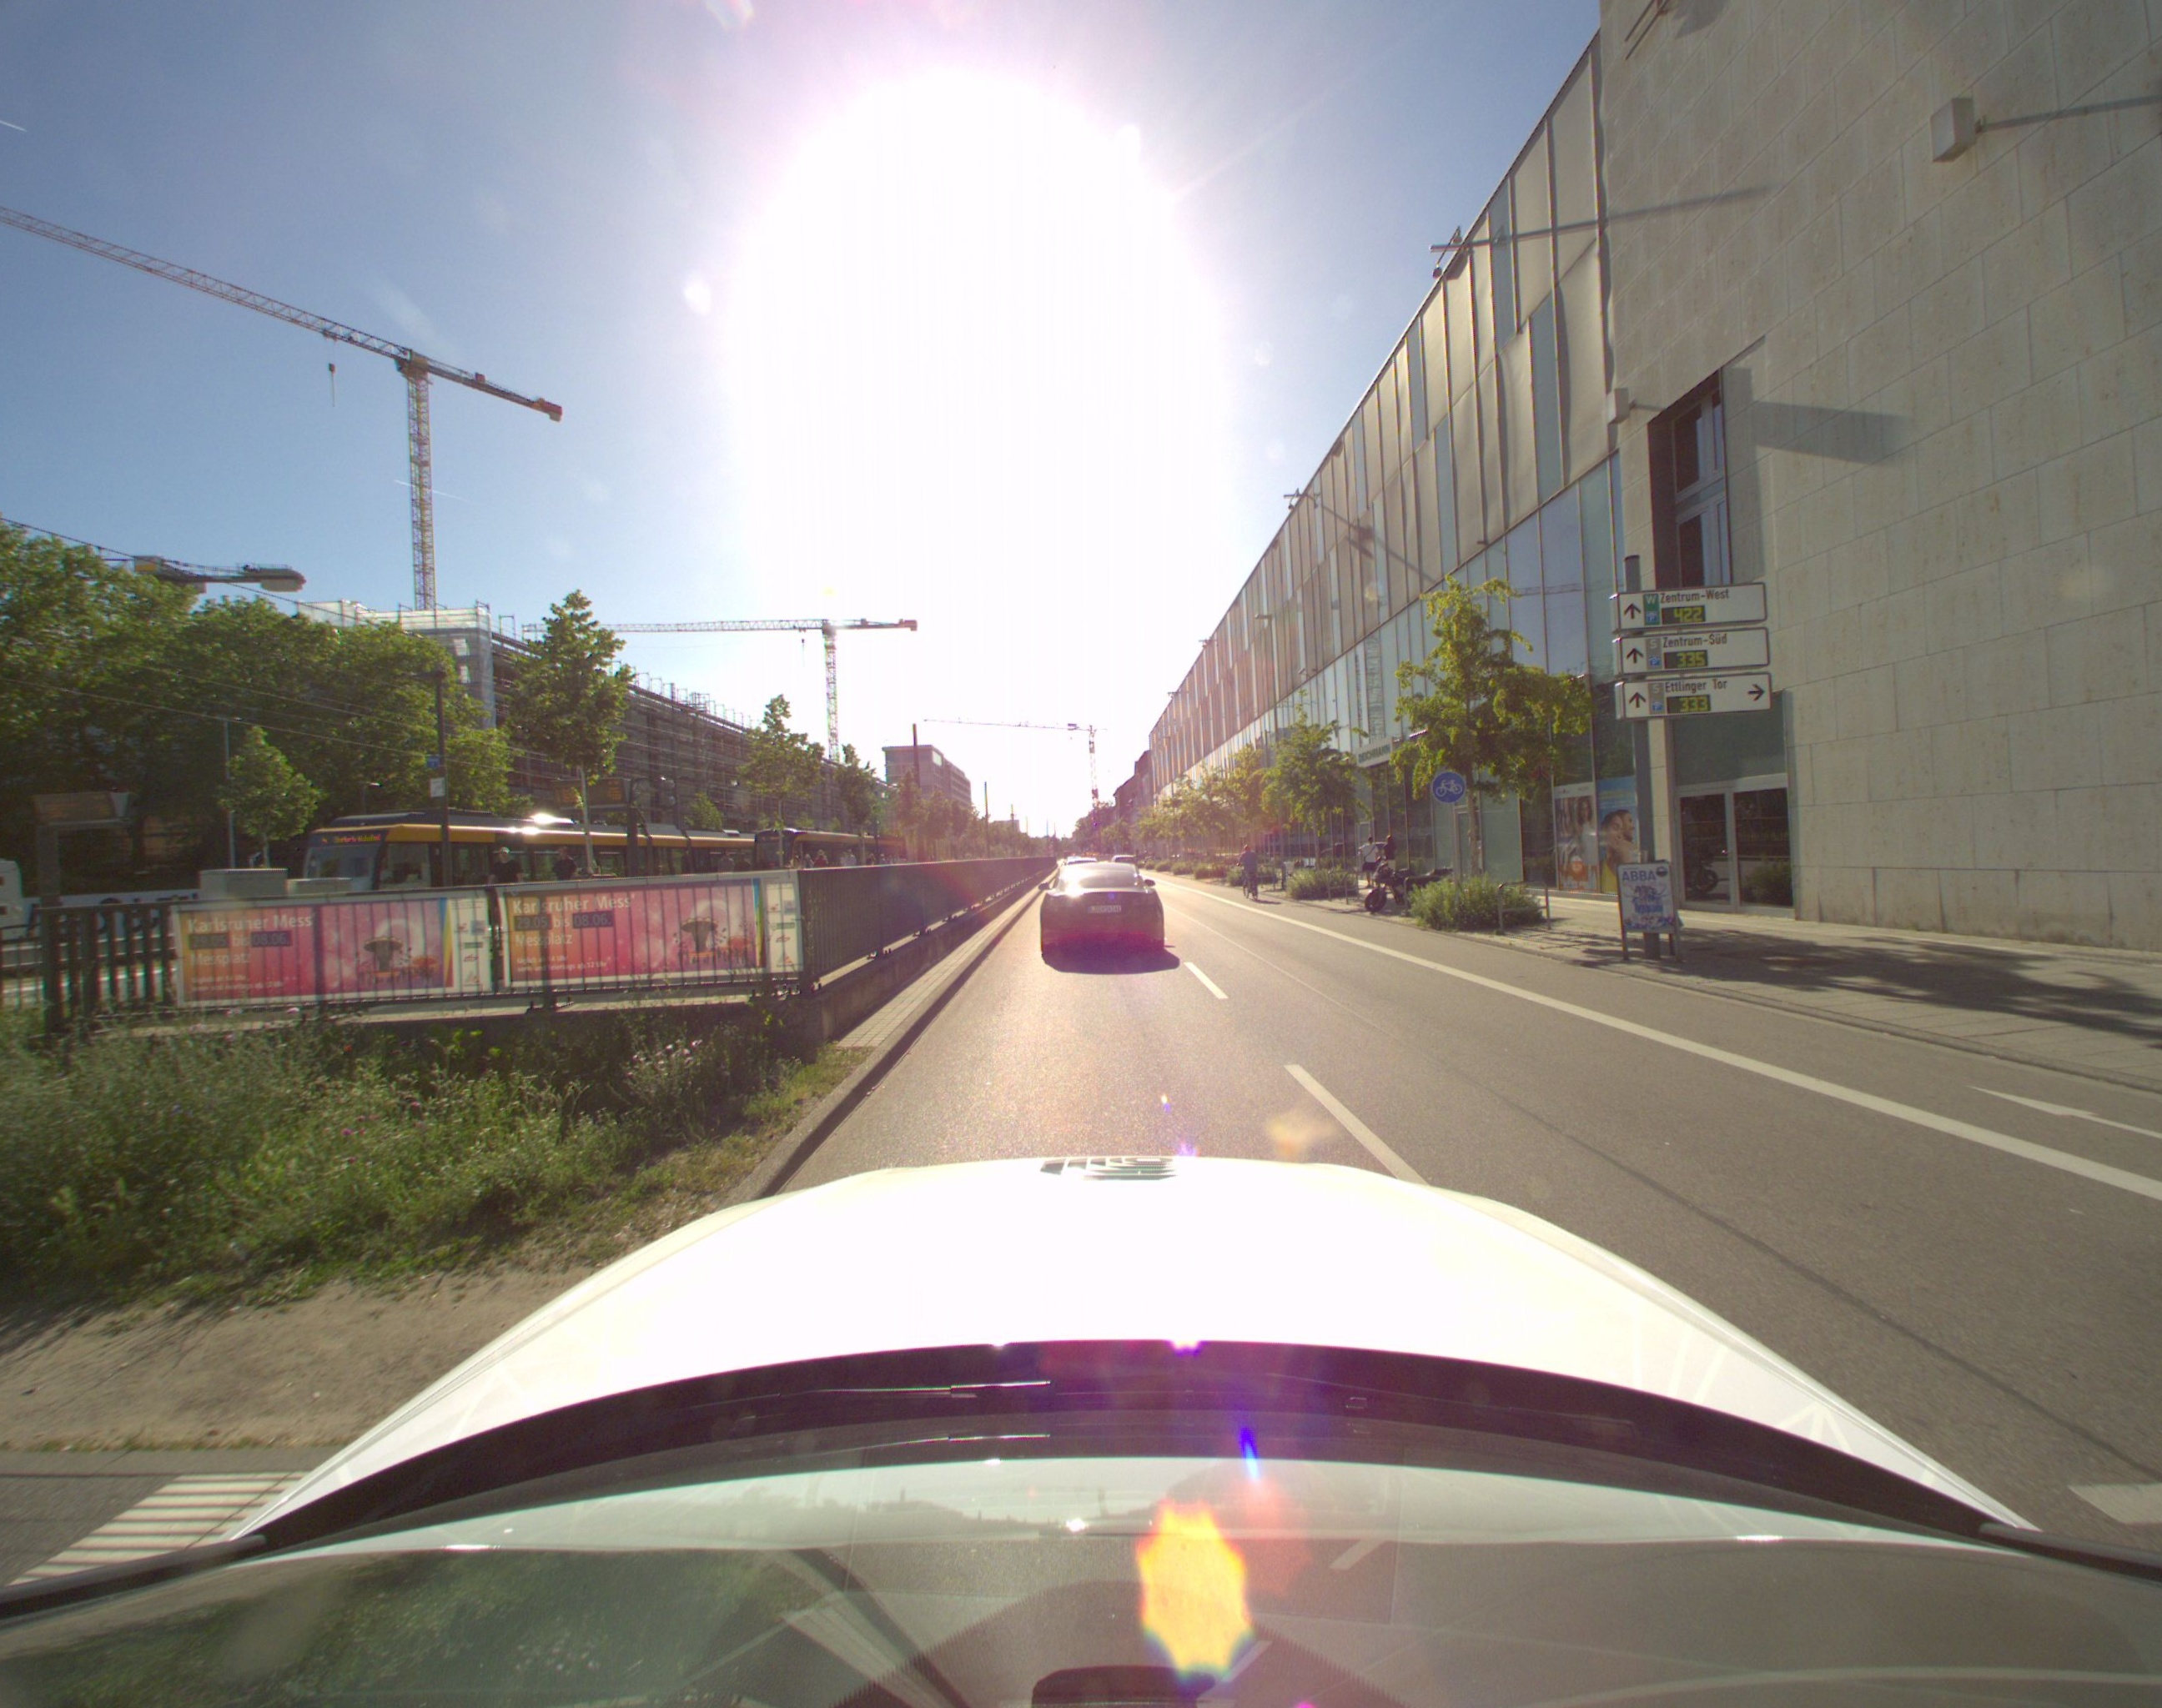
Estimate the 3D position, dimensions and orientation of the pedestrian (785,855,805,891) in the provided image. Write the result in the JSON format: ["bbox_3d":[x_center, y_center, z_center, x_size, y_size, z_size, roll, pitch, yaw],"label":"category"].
[{"bbox_3d":[-12.395,0.828,35.320,0.646,1.512,0.588,-1,1,-4],"label":"pedestrian"}]

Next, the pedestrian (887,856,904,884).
[{"bbox_3d":[-10.959,0.954,48.113,0.739,1.628,0.861,-3,0,0],"label":"pedestrian"}]

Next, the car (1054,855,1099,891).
[{"bbox_3d":[-0.164,0.733,33.548,1.711,1.319,4.000,-2,0,0],"label":"car"}]

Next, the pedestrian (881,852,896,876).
[{"bbox_3d":[-13.021,0.675,55.198,0.739,1.628,0.861,-3,0,0],"label":"pedestrian"}]

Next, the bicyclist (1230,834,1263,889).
[{"bbox_3d":[5.371,0.244,26.511,0.723,1.736,0.996,-3,0,-4],"label":"bicyclist"}]

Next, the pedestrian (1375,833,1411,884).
[{"bbox_3d":[10.500,0.144,27.465,0.705,1.658,0.899,-5,0,-5],"label":"pedestrian"}]

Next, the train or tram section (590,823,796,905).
[{"bbox_3d":[-18.608,0.388,41.148,2.839,3.321,15.962,0,0,0],"label":"train or tram section"}]

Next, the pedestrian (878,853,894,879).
[{"bbox_3d":[-12.595,0.771,52.633,0.739,1.628,0.861,-3,0,0],"label":"pedestrian"}]

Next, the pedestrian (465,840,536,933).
[{"bbox_3d":[-11.499,0.626,16.153,0.701,1.775,0.958,-1,1,-3],"label":"pedestrian"}]

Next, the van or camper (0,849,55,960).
[{"bbox_3d":[-29.912,1.410,19.005,2.598,2.937,7.337,-3,0,-2],"label":"van or camper"}]

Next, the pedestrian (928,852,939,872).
[{"bbox_3d":[-12.837,0.697,70.958,0.739,1.628,0.861,-3,0,0],"label":"pedestrian"}]

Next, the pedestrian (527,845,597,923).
[{"bbox_3d":[-12.218,0.677,19.225,0.872,1.775,1.188,-1,1,-3],"label":"pedestrian"}]

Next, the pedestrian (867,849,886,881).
[{"bbox_3d":[-10.793,0.587,42.985,0.739,1.628,0.861,-3,0,0],"label":"pedestrian"}]

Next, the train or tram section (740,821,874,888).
[{"bbox_3d":[-15.641,0.013,48.325,2.861,3.279,15.181,-1,0,0],"label":"train or tram section"}]

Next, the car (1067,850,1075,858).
[{"bbox_3d":[-2.553,-0.089,202.056,1.807,1.809,4.039,-2,0,1],"label":"car"}]

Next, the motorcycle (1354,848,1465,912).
[{"bbox_3d":[7.656,0.588,19.088,2.179,1.324,0.904,-4,0,3],"label":"motorcycle"}]

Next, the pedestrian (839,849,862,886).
[{"bbox_3d":[-12.130,0.701,42.901,0.884,1.851,1.007,-3,0,-1],"label":"pedestrian"}]

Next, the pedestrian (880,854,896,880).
[{"bbox_3d":[-12.223,0.801,51.599,0.739,1.628,0.947,-3,0,0],"label":"pedestrian"}]

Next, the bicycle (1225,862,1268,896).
[{"bbox_3d":[5.401,0.794,26.667,0.727,0.983,2.330,-4,1,-4],"label":"bicycle"}]

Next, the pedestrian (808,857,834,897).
[{"bbox_3d":[-10.912,0.963,34.187,0.739,1.628,0.861,-3,0,0],"label":"pedestrian"}]

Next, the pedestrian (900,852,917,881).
[{"bbox_3d":[-10.181,0.733,48.157,0.739,1.628,0.861,-3,0,0],"label":"pedestrian"}]

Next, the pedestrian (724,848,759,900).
[{"bbox_3d":[-11.807,0.687,28.332,0.789,1.775,0.978,-1,1,-3],"label":"pedestrian"}]

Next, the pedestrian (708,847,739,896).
[{"bbox_3d":[-13.128,0.627,29.916,0.759,1.775,0.826,-1,1,-3],"label":"pedestrian"}]

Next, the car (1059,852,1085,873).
[{"bbox_3d":[-0.723,0.667,68.372,1.881,1.596,4.003,-3,0,2],"label":"car"}]

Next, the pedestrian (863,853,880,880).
[{"bbox_3d":[-13.000,0.776,50.585,0.739,1.628,0.861,-3,0,0],"label":"pedestrian"}]

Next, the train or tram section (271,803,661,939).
[{"bbox_3d":[-18.548,0.403,26.644,2.861,3.309,13.069,-1,0,0],"label":"train or tram section"}]

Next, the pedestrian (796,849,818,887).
[{"bbox_3d":[-13.437,0.663,39.945,0.670,1.810,1.074,-3,0,-1],"label":"pedestrian"}]

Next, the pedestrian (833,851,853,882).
[{"bbox_3d":[-13.206,0.702,45.219,0.739,1.694,0.861,-3,0,0],"label":"pedestrian"}]

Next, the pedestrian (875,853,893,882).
[{"bbox_3d":[-11.381,0.766,47.081,0.739,1.628,0.861,-3,0,0],"label":"pedestrian"}]

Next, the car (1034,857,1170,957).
[{"bbox_3d":[0.387,0.804,14.358,1.991,1.434,4.414,-2,0,2],"label":"car"}]

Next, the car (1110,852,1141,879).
[{"bbox_3d":[2.820,0.685,52.088,1.778,1.546,4.039,-2,0,1],"label":"car"}]

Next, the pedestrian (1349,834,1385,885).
[{"bbox_3d":[9.665,0.191,27.548,0.819,1.658,0.899,-2,0,-5],"label":"pedestrian"}]

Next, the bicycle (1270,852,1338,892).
[{"bbox_3d":[7.623,0.610,27.951,2.075,1.205,0.952,-4,0,5],"label":"bicycle"}]

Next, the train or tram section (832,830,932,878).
[{"bbox_3d":[-15.689,-0.011,66.996,2.861,3.279,22.137,-1,0,0],"label":"train or tram section"}]

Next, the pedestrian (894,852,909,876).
[{"bbox_3d":[-12.162,0.663,55.175,0.739,1.628,0.861,-3,0,0],"label":"pedestrian"}]

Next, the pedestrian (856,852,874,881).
[{"bbox_3d":[-12.882,0.740,48.602,0.739,1.628,0.861,-3,0,0],"label":"pedestrian"}]

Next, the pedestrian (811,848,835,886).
[{"bbox_3d":[-12.651,0.636,40.004,0.767,1.810,1.030,-3,0,-1],"label":"pedestrian"}]
